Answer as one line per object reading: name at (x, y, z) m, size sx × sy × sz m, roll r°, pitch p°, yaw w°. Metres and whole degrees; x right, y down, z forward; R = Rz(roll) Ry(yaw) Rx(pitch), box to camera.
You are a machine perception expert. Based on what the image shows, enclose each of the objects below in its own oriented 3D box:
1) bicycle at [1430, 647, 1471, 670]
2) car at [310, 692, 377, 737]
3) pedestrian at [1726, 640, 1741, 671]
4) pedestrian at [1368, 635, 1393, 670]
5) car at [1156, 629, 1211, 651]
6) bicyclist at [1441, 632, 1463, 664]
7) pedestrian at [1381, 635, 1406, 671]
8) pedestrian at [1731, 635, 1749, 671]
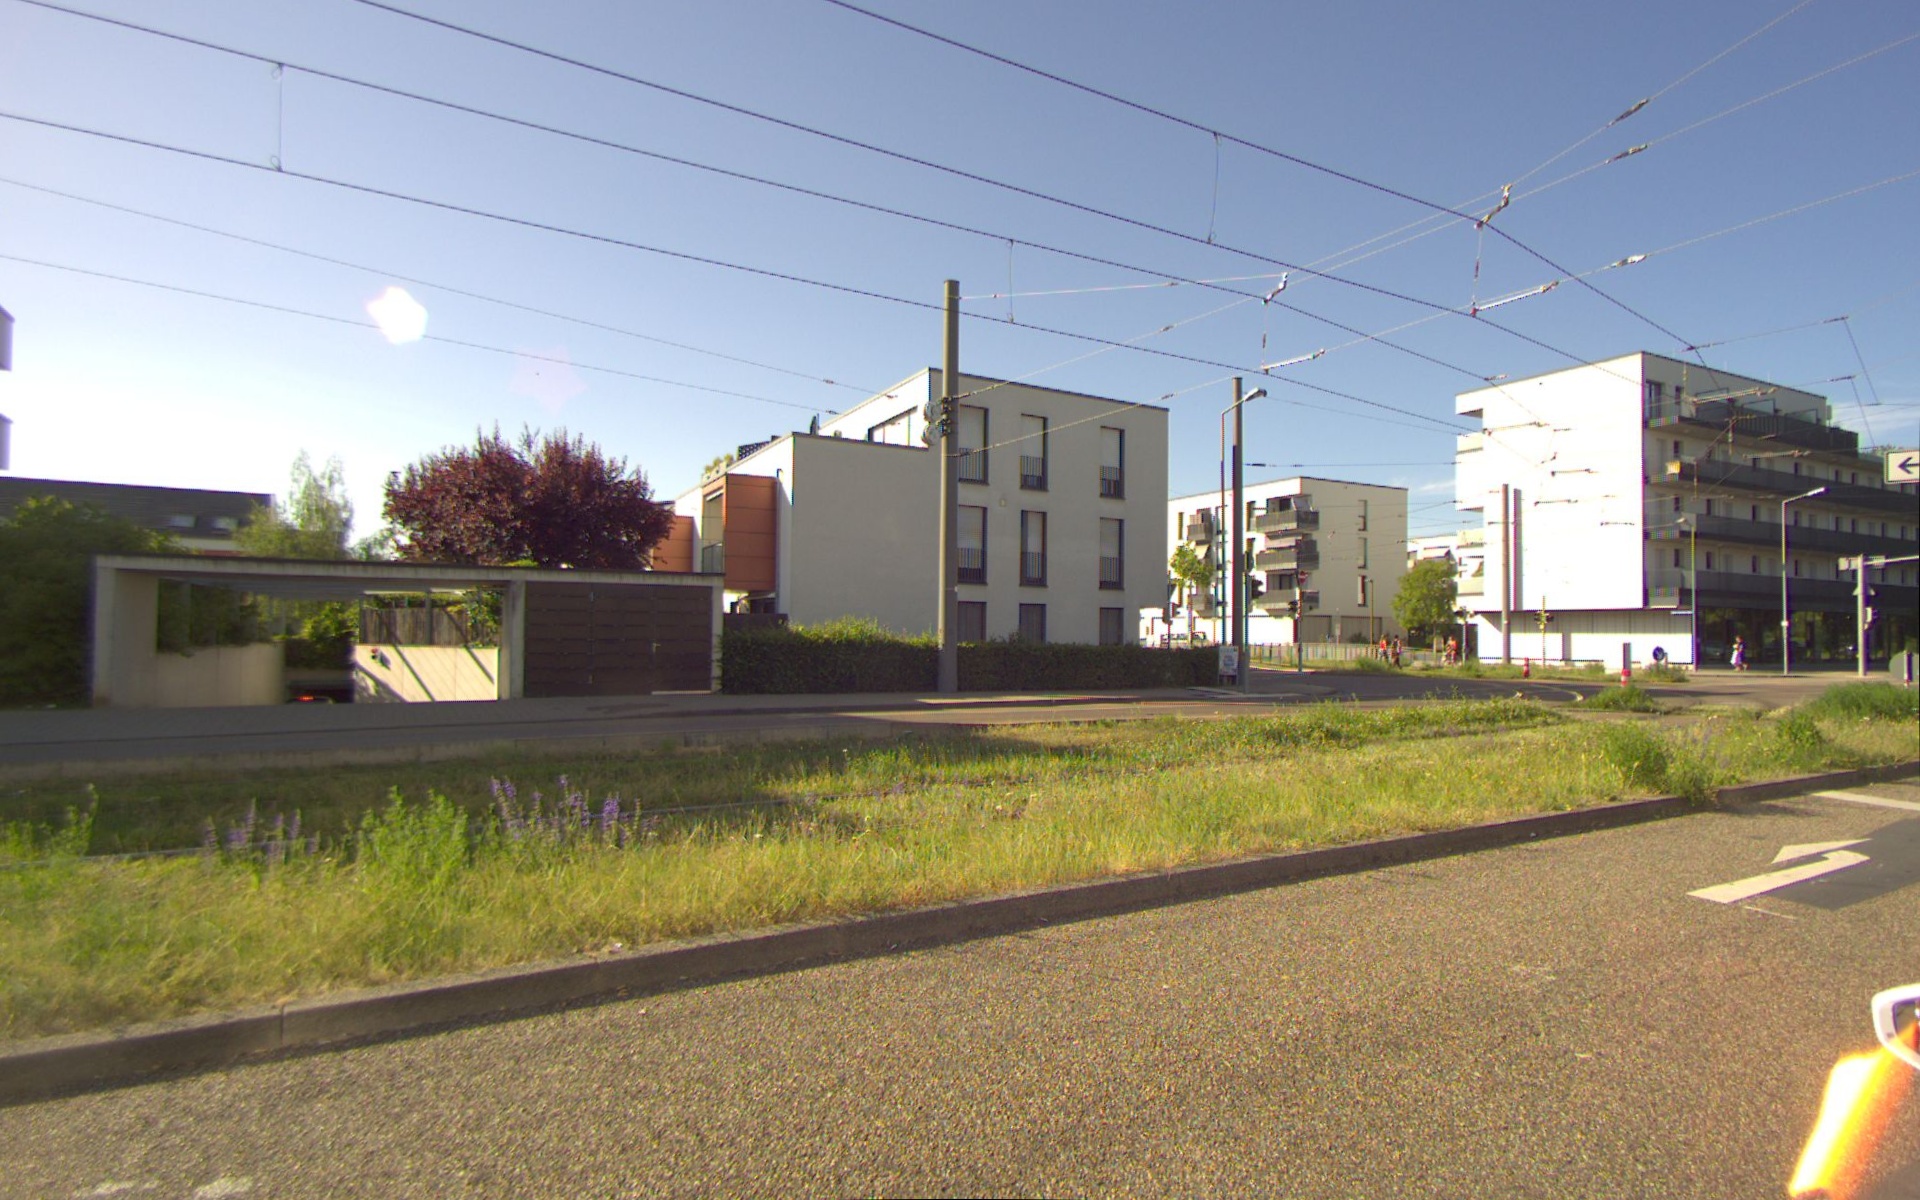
bicycle at (25.240, 3.011, 51.677) m, size 1.833 × 1.139 × 0.819 m, roll 2°, pitch 0°, yaw -20°
car at (-20.266, 3.781, 33.149) m, size 1.556 × 1.344 × 3.975 m, roll 1°, pitch -7°, yaw -27°
pedestrian at (38.685, 2.778, 50.228) m, size 0.513 × 1.523 × 0.438 m, roll 2°, pitch 0°, yaw -35°
pedestrian at (19.742, 2.454, 47.187) m, size 0.736 × 1.626 × 0.765 m, roll 2°, pitch 0°, yaw -36°
car at (17.801, 3.188, 80.281) m, size 1.974 × 1.595 × 4.309 m, roll 2°, pitch 0°, yaw -27°
bicyclist at (25.298, 2.473, 51.673) m, size 0.631 × 1.635 × 0.781 m, roll 2°, pitch 0°, yaw -21°
pedestrian at (20.050, 2.459, 46.444) m, size 0.736 × 1.626 × 0.765 m, roll 2°, pitch 0°, yaw -36°
pedestrian at (39.218, 2.649, 50.514) m, size 0.513 × 1.767 × 0.539 m, roll 2°, pitch 0°, yaw -35°
